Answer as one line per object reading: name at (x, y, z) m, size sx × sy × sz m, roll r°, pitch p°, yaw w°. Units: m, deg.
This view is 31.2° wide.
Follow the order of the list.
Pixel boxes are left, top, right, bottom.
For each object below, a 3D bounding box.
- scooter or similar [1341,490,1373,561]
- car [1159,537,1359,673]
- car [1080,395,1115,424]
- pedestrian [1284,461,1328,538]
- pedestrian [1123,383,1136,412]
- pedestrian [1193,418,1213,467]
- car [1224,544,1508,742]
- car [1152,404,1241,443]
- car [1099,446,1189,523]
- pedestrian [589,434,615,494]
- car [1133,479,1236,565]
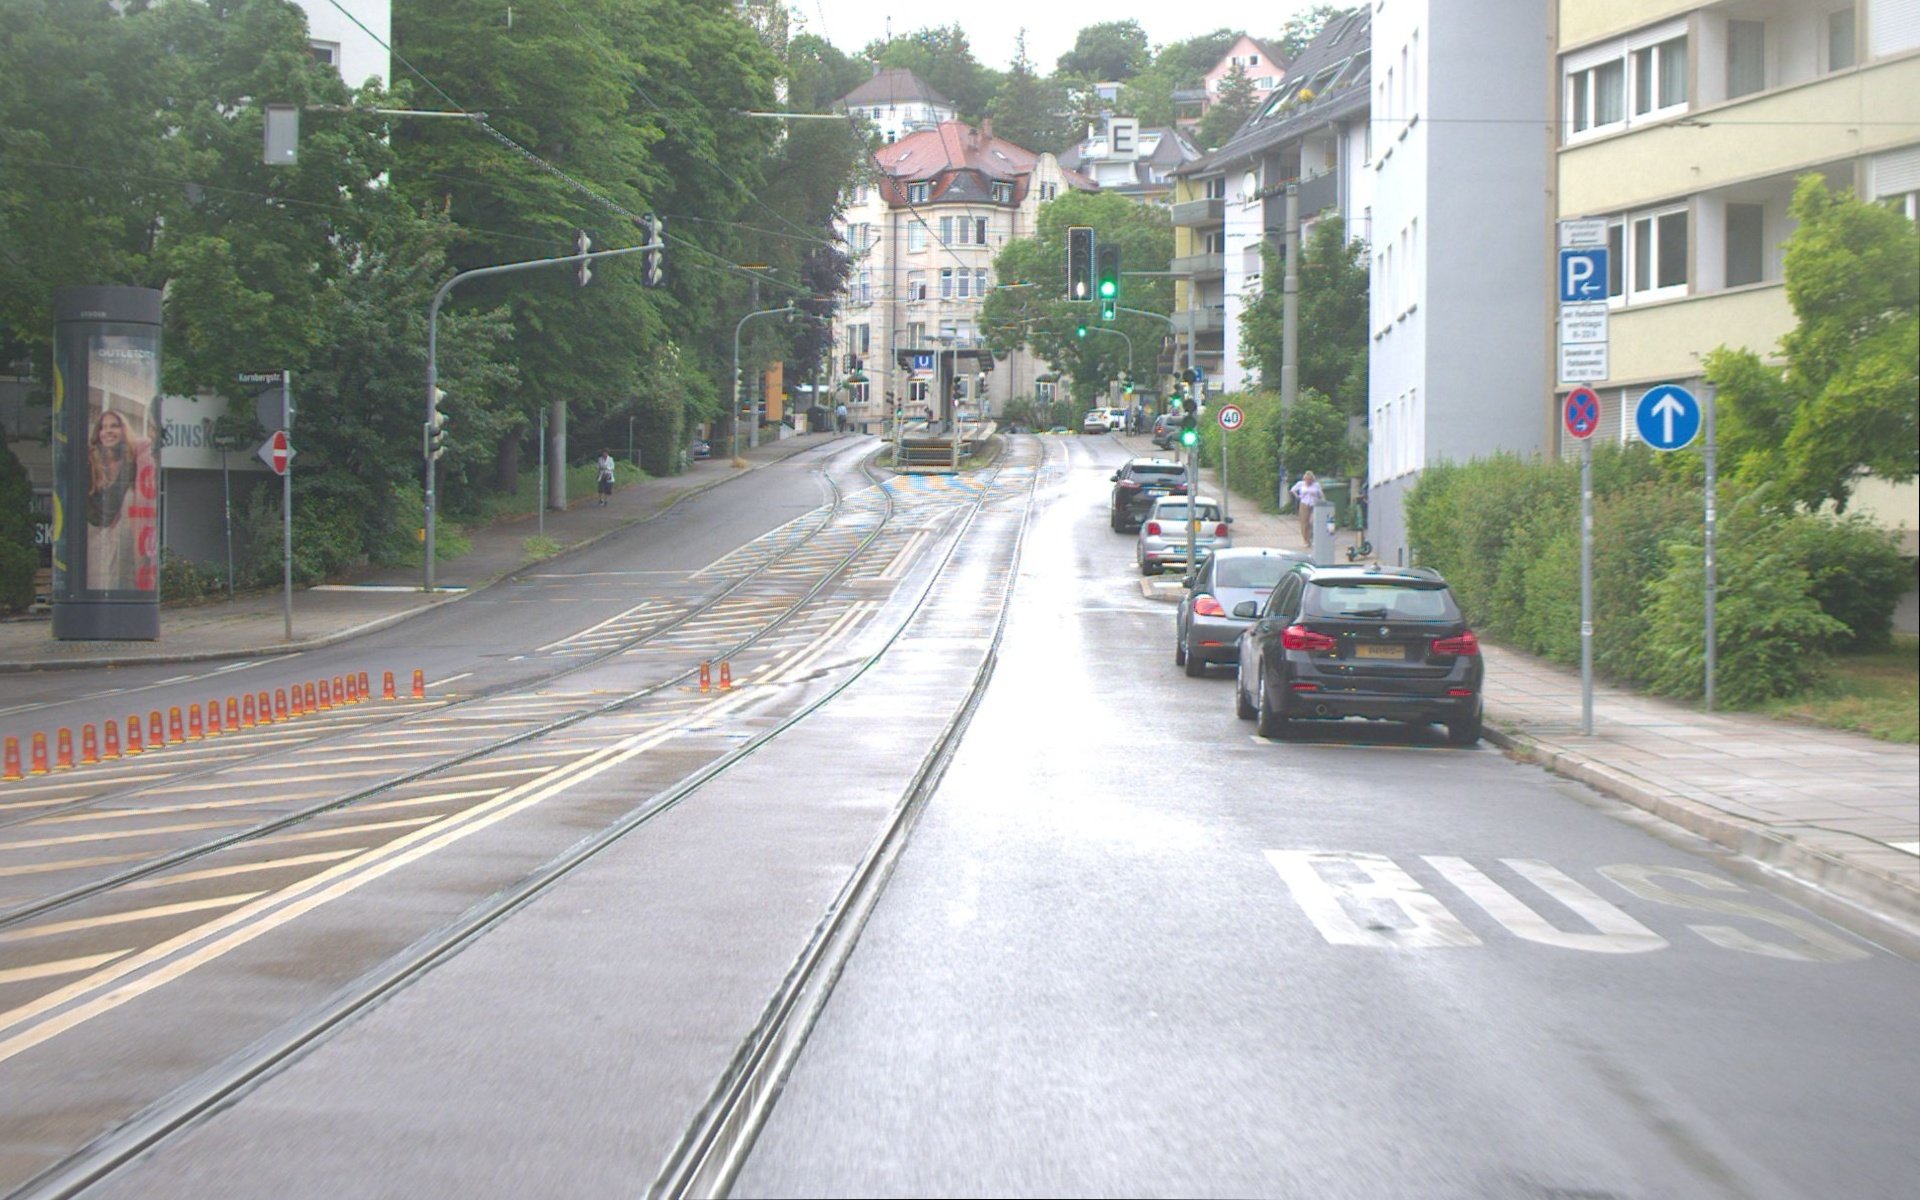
scooter or similar at (7.645, -1.440, 66.170) m, size 0.575 × 1.245 × 1.610 m, roll 2°, pitch 6°, yaw 7°
car at (3.485, 0.021, 40.772) m, size 1.940 × 1.459 × 4.207 m, roll 2°, pitch 1°, yaw 0°
car at (8.340, -11.573, 208.481) m, size 1.906 × 1.636 × 4.690 m, roll 2°, pitch 3°, yaw 1°
pedestrian at (7.278, -2.112, 72.291) m, size 0.882 × 1.577 × 0.801 m, roll 0°, pitch 5°, yaw 4°
pedestrian at (9.122, -10.889, 184.846) m, size 0.578 × 1.461 × 0.544 m, roll 2°, pitch 0°, yaw -6°
pedestrian at (8.171, -5.295, 115.507) m, size 0.644 × 1.623 × 0.699 m, roll 1°, pitch 2°, yaw 4°
car at (3.362, 0.301, 29.310) m, size 1.858 × 1.482 × 4.645 m, roll 2°, pitch 1°, yaw 0°
car at (10.885, -8.134, 158.296) m, size 3.987 × 1.640 × 1.808 m, roll 2°, pitch 2°, yaw 1°
car at (4.334, -2.765, 81.583) m, size 1.906 × 1.636 × 4.690 m, roll 2°, pitch 3°, yaw 1°
pedestrian at (-9.648, -3.665, 92.660) m, size 0.583 × 1.594 × 0.869 m, roll 3°, pitch 3°, yaw -2°
car at (4.250, -1.513, 65.676) m, size 1.704 × 1.428 × 4.102 m, roll 2°, pitch 3°, yaw 1°
